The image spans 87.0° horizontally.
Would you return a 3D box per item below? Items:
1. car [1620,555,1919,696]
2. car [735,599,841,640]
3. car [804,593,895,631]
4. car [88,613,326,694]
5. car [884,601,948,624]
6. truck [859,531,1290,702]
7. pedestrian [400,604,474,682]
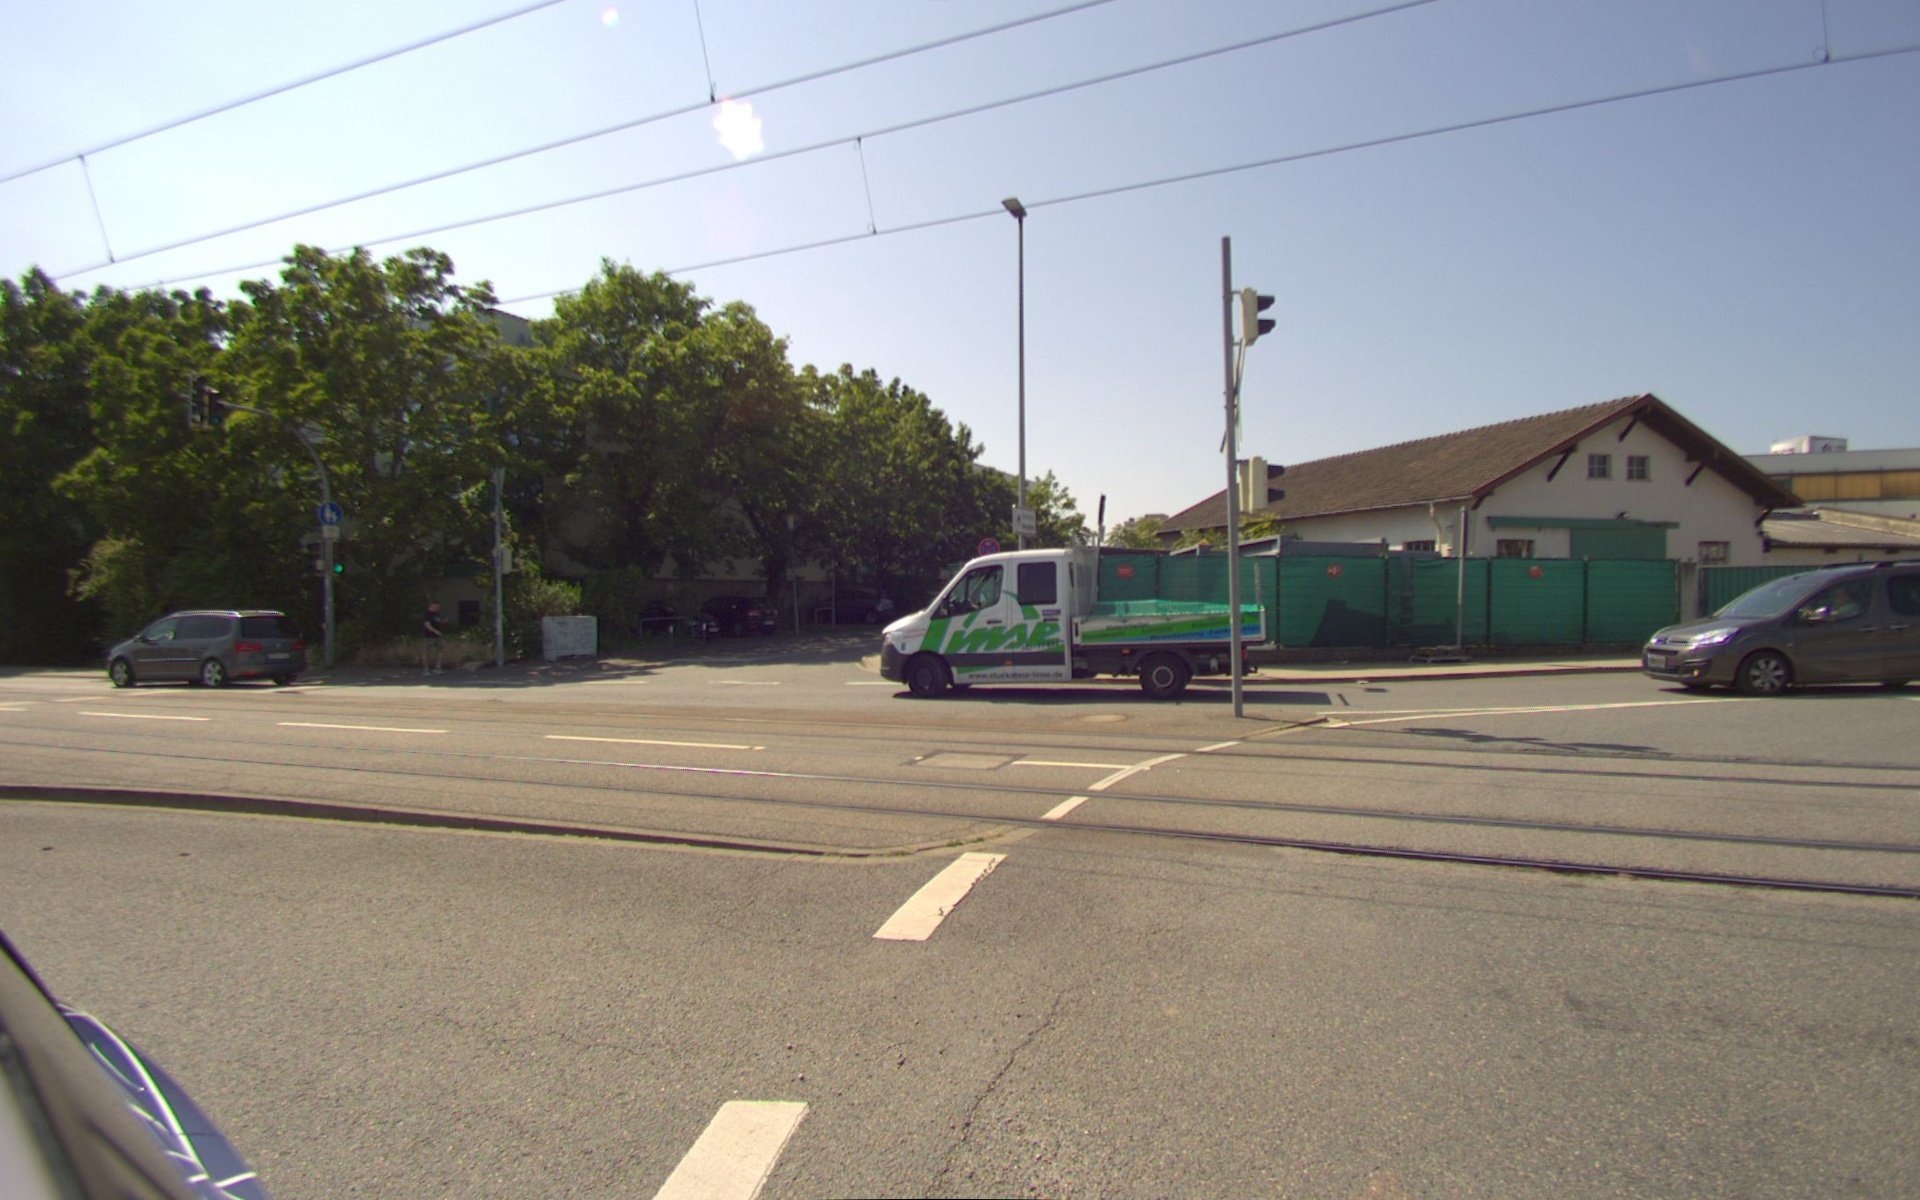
[{"bbox_3d":[12.228,0.340,14.300,4.359,1.832,1.984,-1,0,9],"label":"car"},{"bbox_3d":[-6.594,0.740,39.112,3.812,1.478,1.626,-1,0,0],"label":"car"},{"bbox_3d":[-5.084,0.543,46.515,3.835,1.650,1.616,-1,0,18],"label":"car"},{"bbox_3d":[-16.383,1.143,22.094,4.151,1.595,1.924,1,-3,14],"label":"car"},{"bbox_3d":[-2.261,0.651,52.062,3.097,1.133,1.204,-1,0,18],"label":"car"},{"bbox_3d":[1.778,0.289,15.890,6.333,2.355,2.198,-1,0,17],"label":"truck"},{"bbox_3d":[-12.134,0.983,23.490,1.152,1.682,0.882,-1,4,23],"label":"pedestrian"}]
